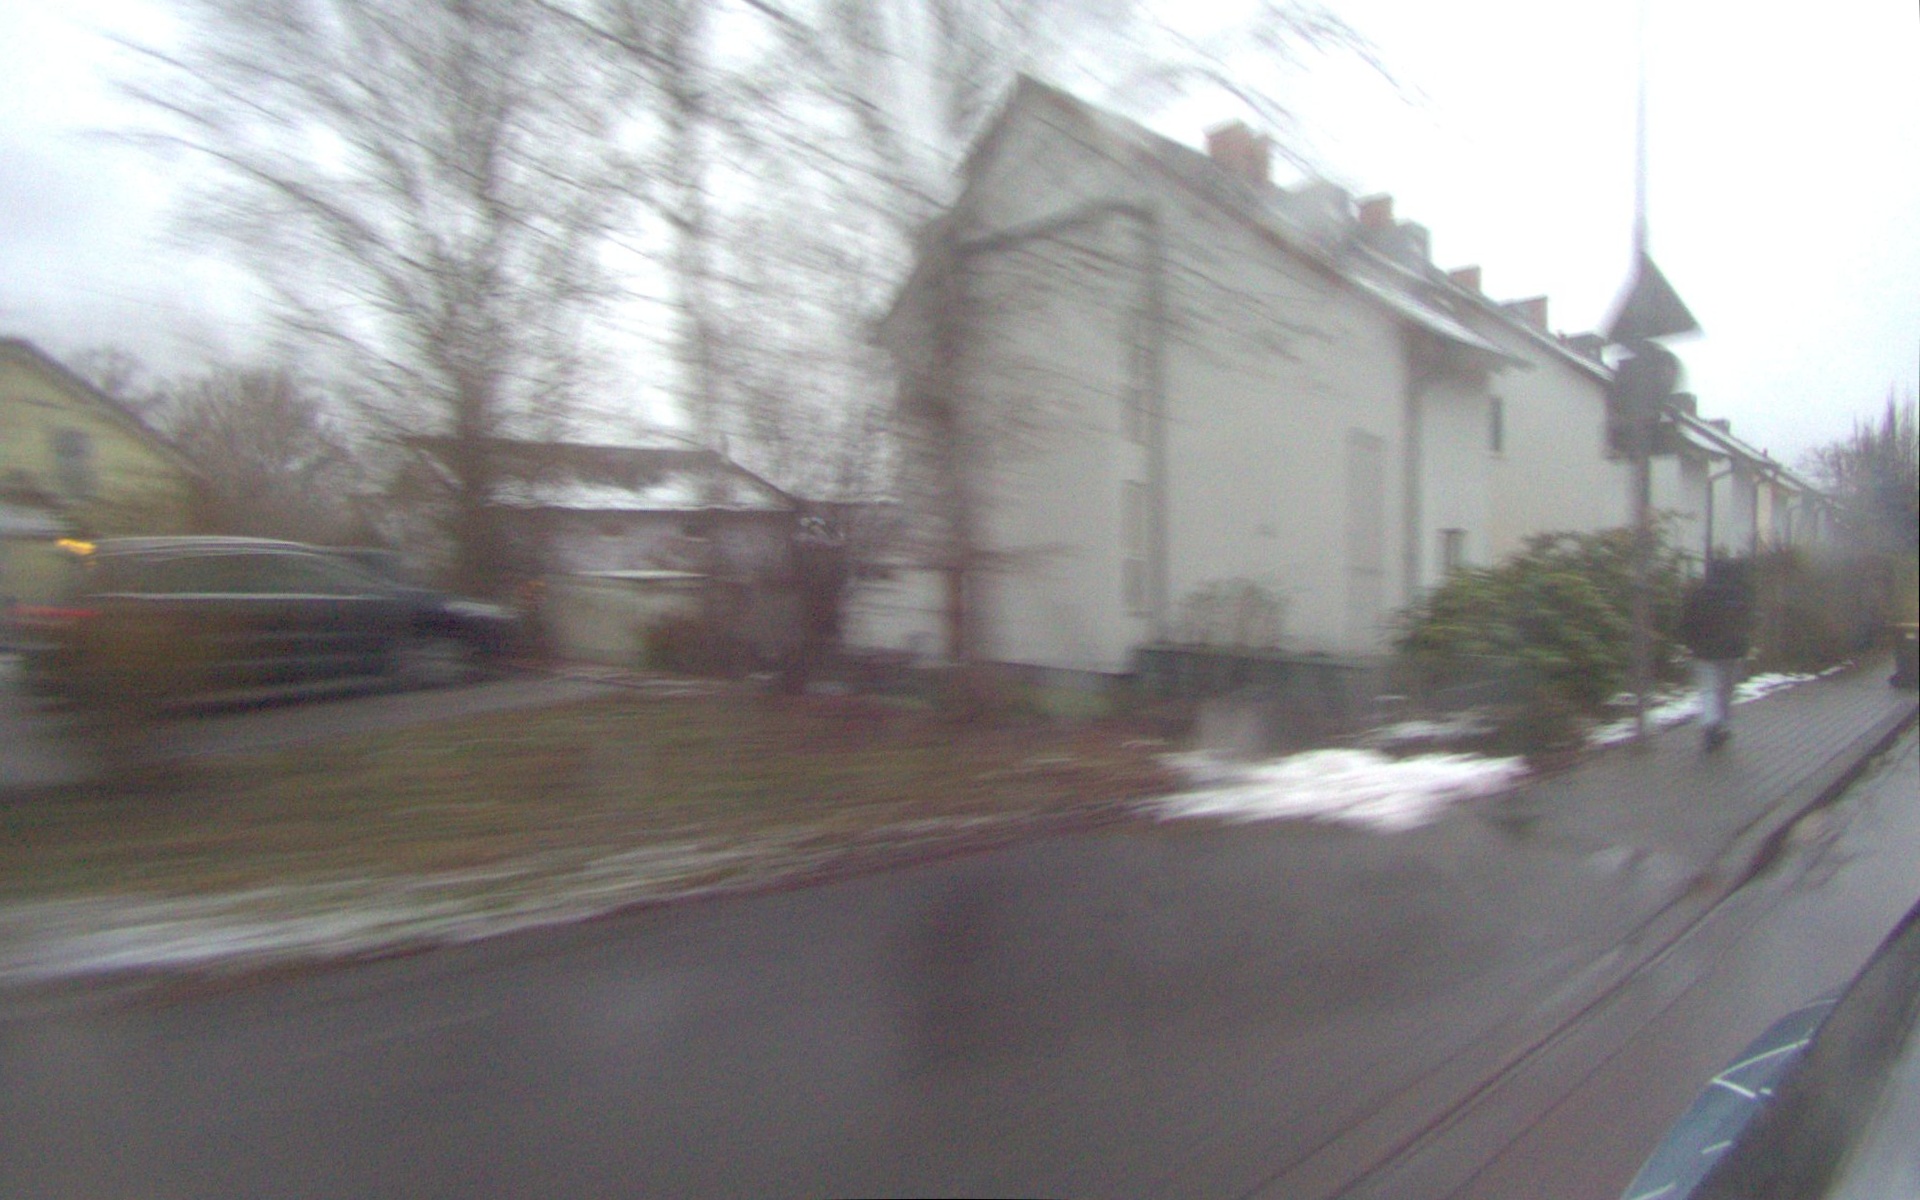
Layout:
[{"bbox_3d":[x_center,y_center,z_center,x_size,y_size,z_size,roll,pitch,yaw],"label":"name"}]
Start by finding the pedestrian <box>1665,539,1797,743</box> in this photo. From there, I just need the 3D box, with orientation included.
[{"bbox_3d":[6.793,0.327,8.914,0.954,1.675,0.744,0,1,-42],"label":"pedestrian"}]

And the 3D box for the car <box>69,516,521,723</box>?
[{"bbox_3d":[-6.823,0.052,10.625,3.677,1.702,1.641,-6,5,-41],"label":"car"}]

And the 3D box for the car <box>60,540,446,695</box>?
[{"bbox_3d":[-8.634,0.101,12.561,3.677,1.490,1.641,-6,5,-41],"label":"car"}]
